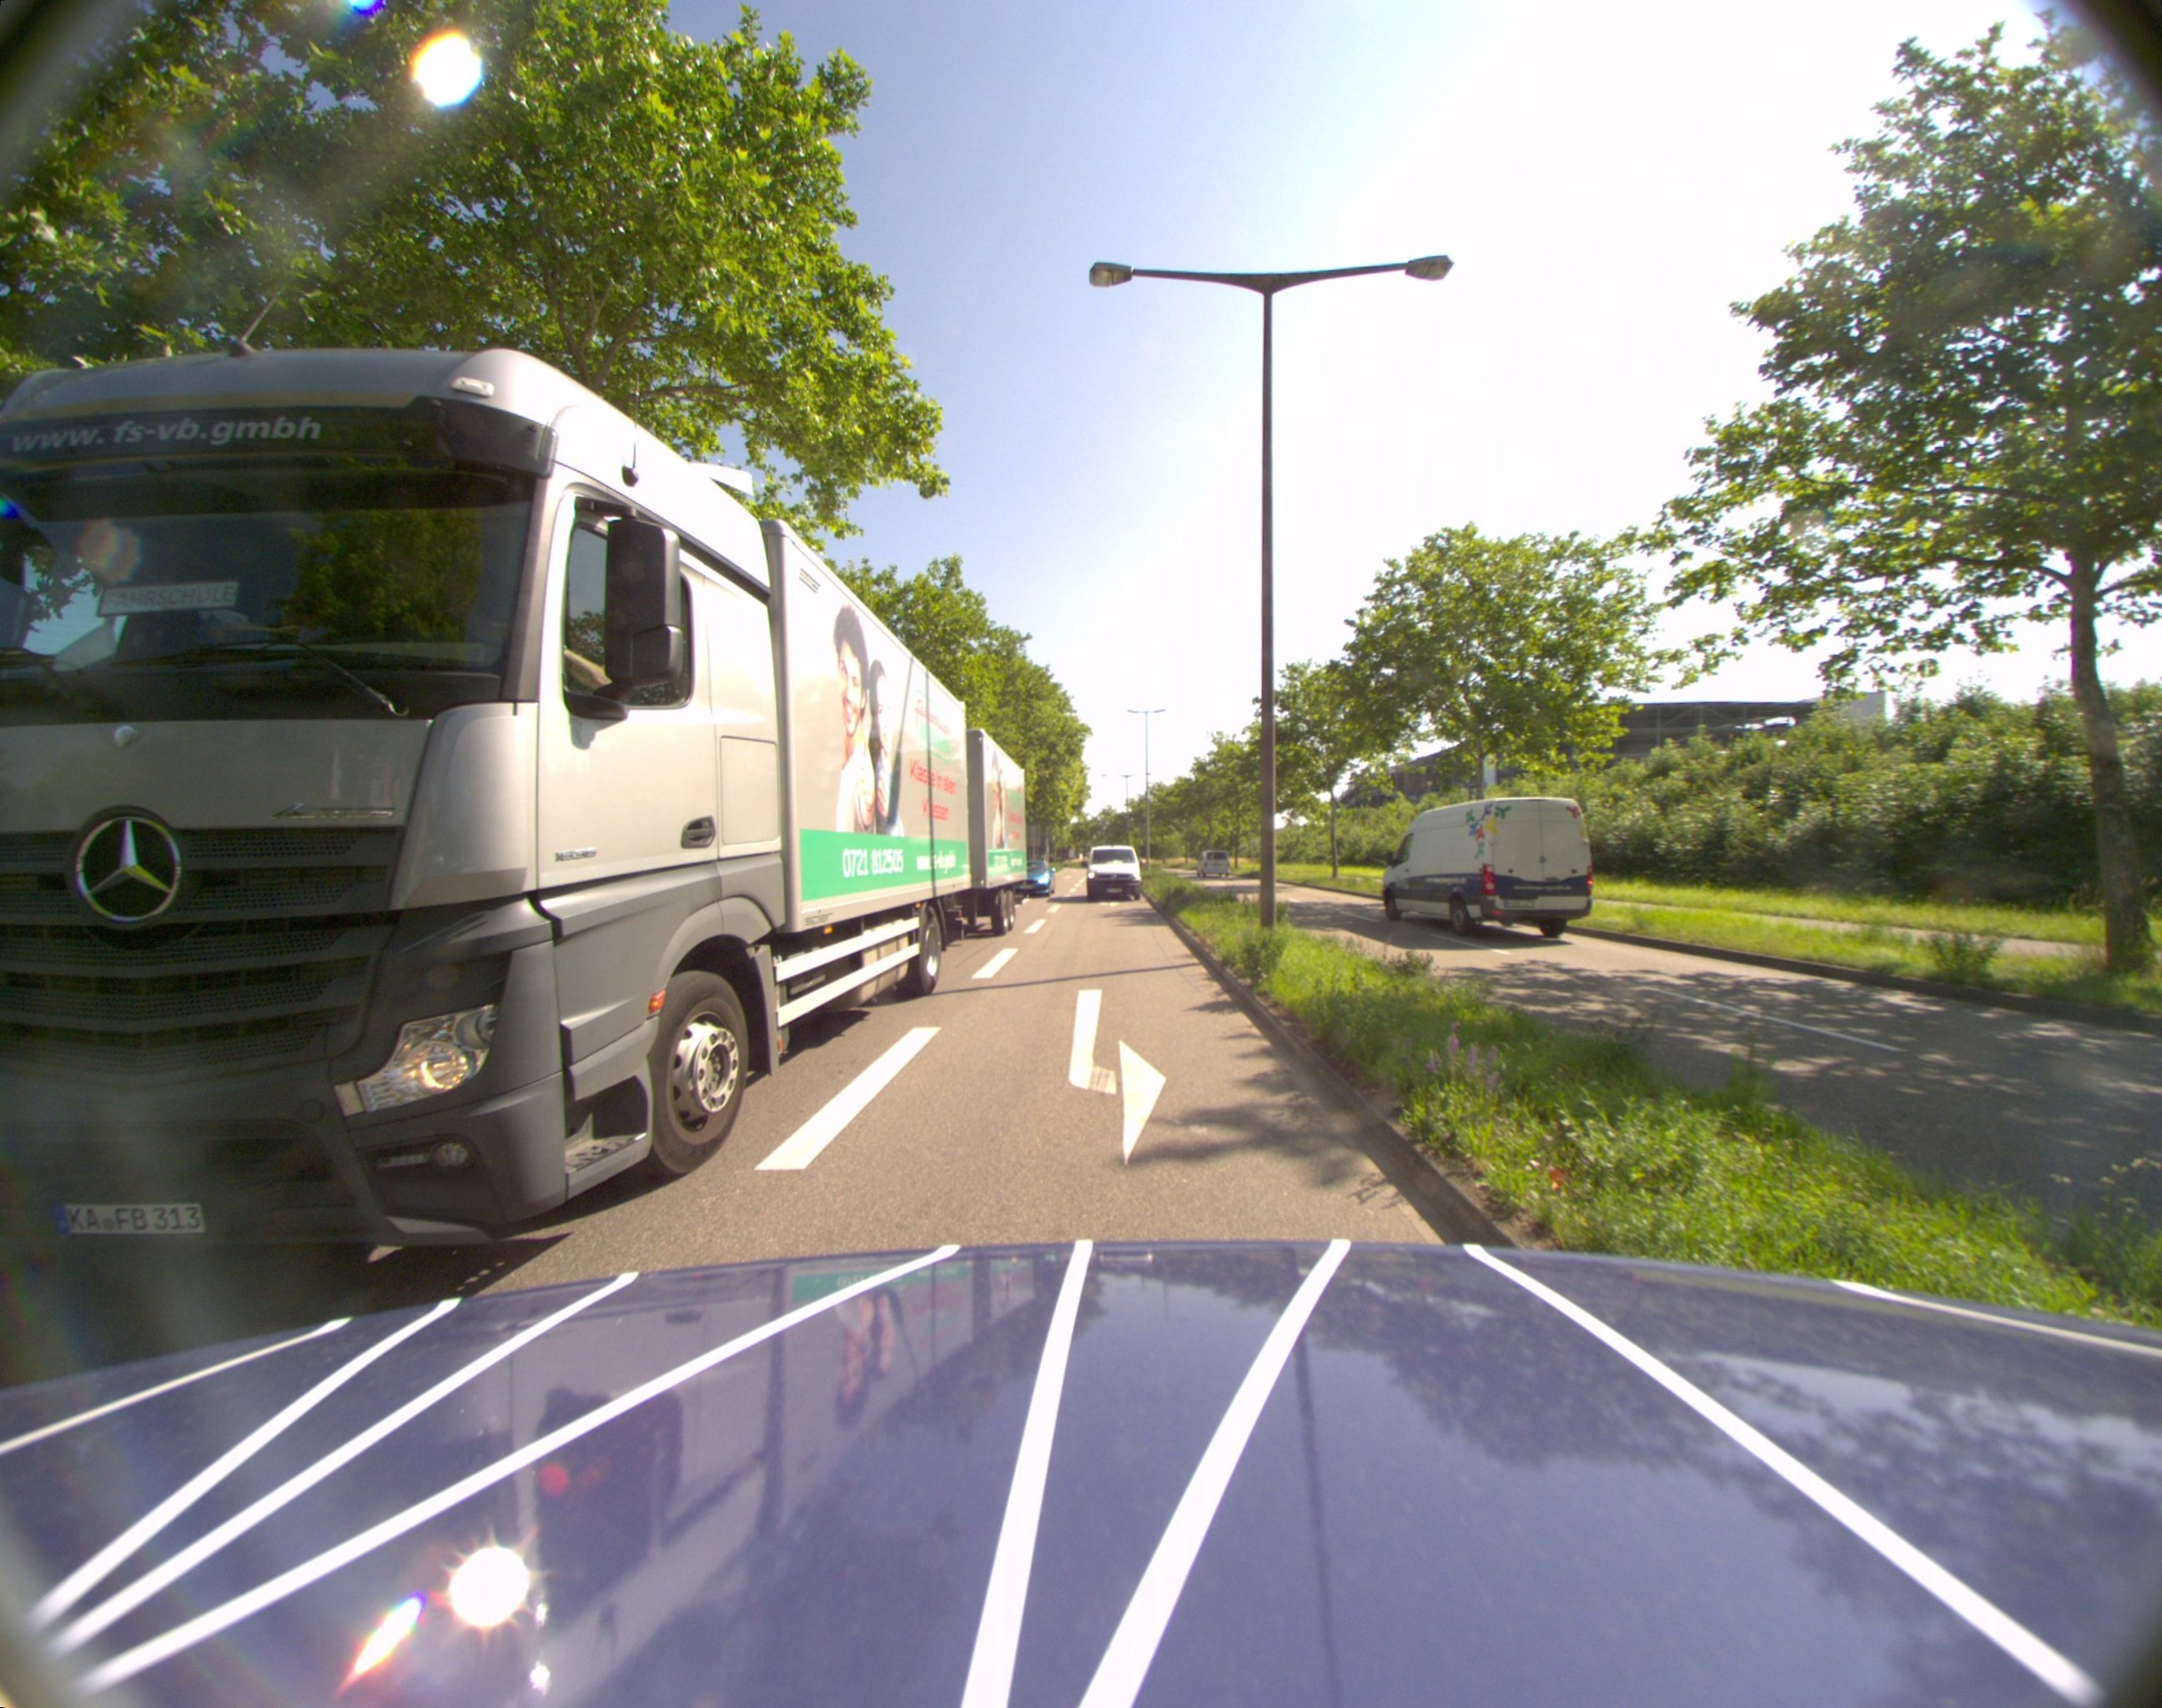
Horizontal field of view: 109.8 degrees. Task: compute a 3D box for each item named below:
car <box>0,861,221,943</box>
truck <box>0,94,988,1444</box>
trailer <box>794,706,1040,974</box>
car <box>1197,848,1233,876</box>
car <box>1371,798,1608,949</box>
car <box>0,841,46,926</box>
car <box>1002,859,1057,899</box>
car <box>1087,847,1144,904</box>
[{"bbox_3d":[-22.148,1.046,16.727,4.083,1.582,1.880,-2,1,-2],"label":"car"},{"bbox_3d":[-2.985,-0.241,6.607,2.735,3.867,8.723,-1,1,3],"label":"truck"},{"bbox_3d":[-2.581,-0.231,14.869,2.743,3.854,7.736,-1,1,3],"label":"trailer"},{"bbox_3d":[9.752,0.537,55.728,1.998,1.887,4.575,1,0,3],"label":"car"},{"bbox_3d":[8.335,0.332,16.354,1.998,2.647,5.786,1,0,1],"label":"car"},{"bbox_3d":[-22.170,0.624,13.734,4.083,1.582,1.880,-2,1,-2],"label":"car"},{"bbox_3d":[-2.014,0.961,30.802,1.872,1.412,4.130,0,0,1],"label":"car"},{"bbox_3d":[1.165,0.693,27.414,1.872,1.889,4.881,0,0,1],"label":"car"}]
